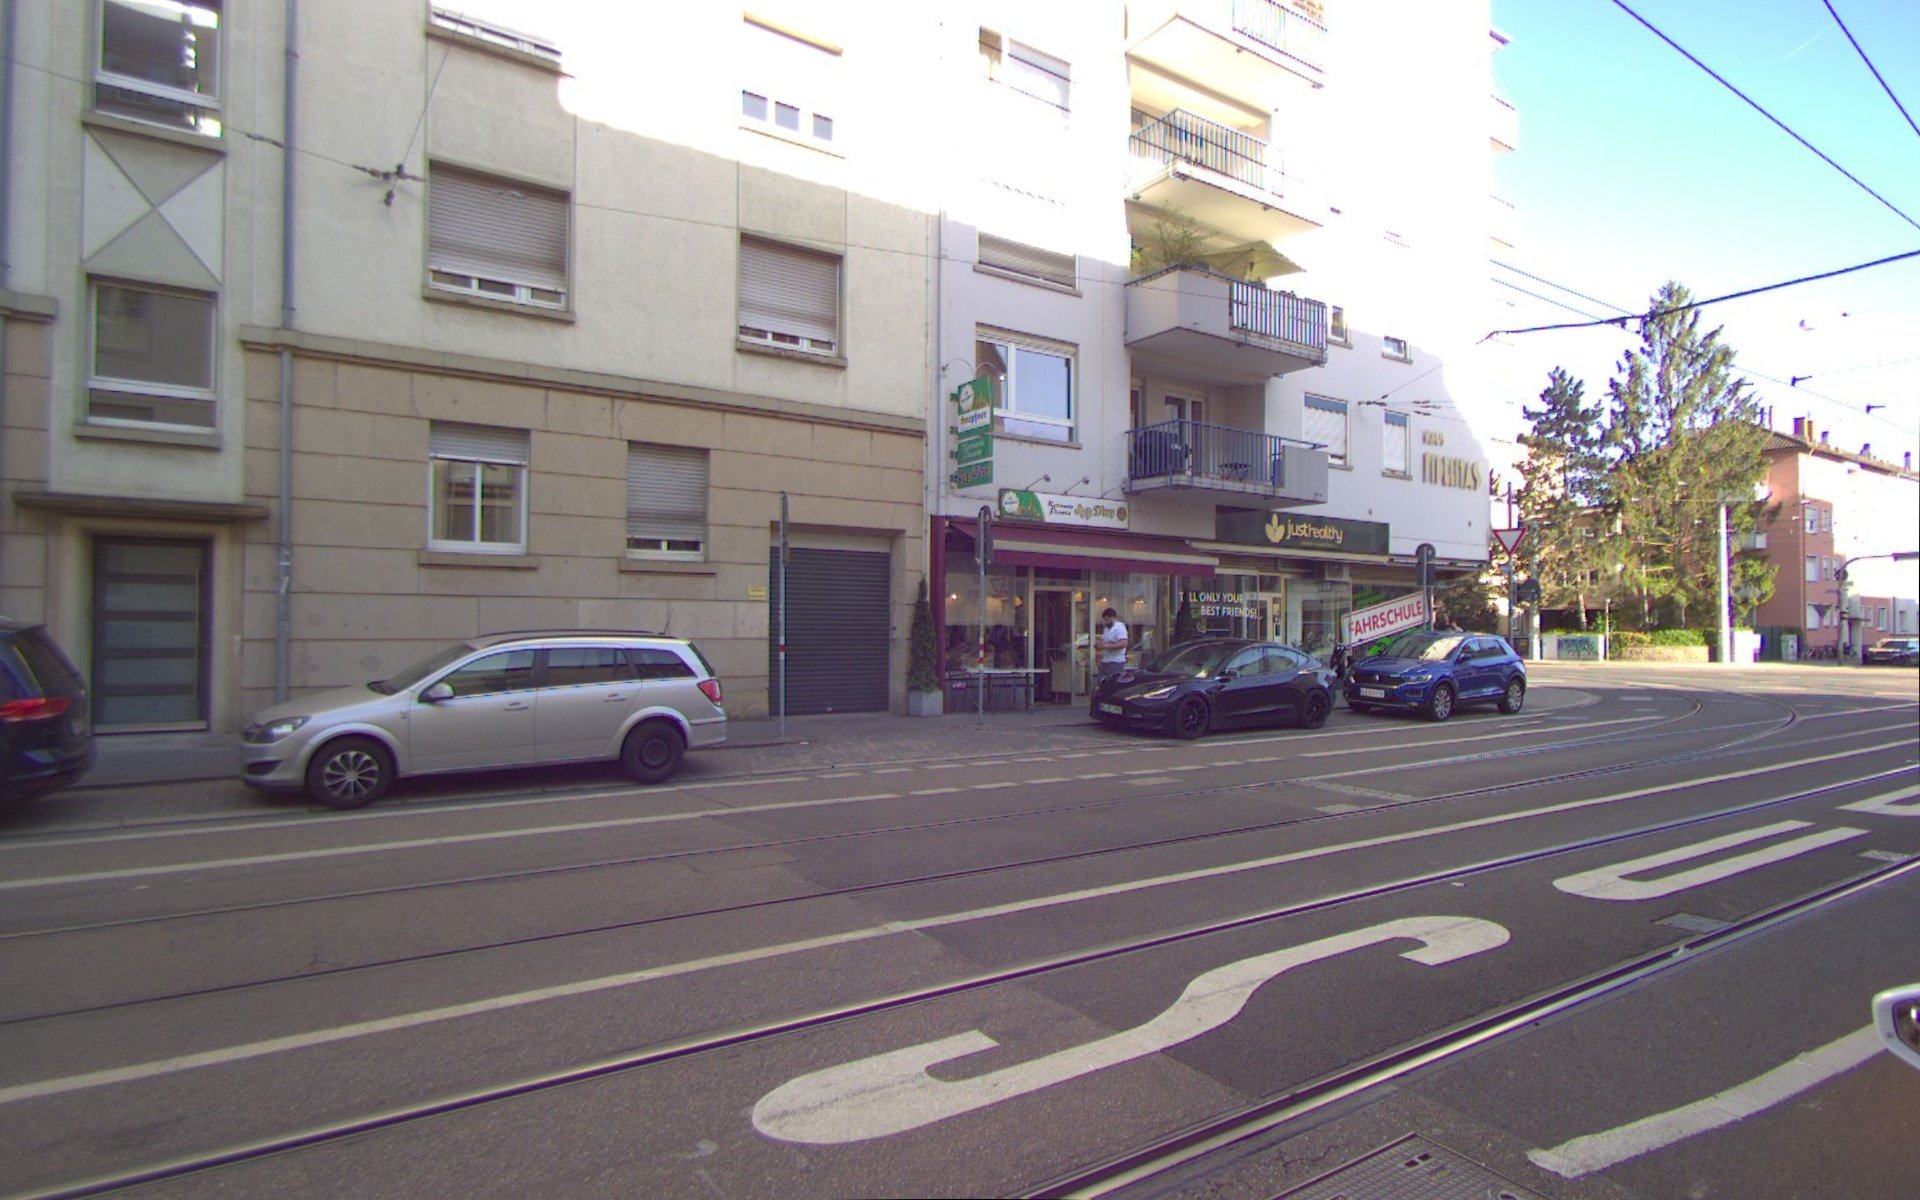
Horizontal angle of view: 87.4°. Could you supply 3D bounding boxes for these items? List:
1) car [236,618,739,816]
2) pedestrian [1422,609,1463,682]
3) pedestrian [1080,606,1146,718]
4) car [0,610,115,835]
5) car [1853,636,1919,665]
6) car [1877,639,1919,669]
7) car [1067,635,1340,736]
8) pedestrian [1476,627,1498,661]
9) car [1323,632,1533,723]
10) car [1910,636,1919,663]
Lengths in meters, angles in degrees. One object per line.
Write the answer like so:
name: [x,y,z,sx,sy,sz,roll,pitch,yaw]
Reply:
car: [-4.697,1.040,10.318,4.319,1.580,1.981,2,0,-34]
pedestrian: [13.753,1.278,28.640,0.688,2.040,0.764,2,0,-35]
pedestrian: [2.597,1.036,17.064,0.802,1.827,0.689,2,0,-30]
car: [-8.992,0.869,7.212,4.249,1.606,1.893,2,0,-35]
car: [49.614,2.699,53.636,3.949,1.440,1.784,2,0,-31]
car: [53.481,3.025,56.390,4.250,1.518,1.806,2,0,-30]
car: [3.977,1.279,16.143,4.382,1.405,1.810,1,-2,-34]
pedestrian: [29.694,2.469,56.603,0.802,1.815,0.891,2,0,-44]
car: [8.928,1.385,19.083,4.030,1.552,1.858,1,-2,-34]
car: [58.071,2.955,59.346,4.103,1.531,1.778,2,0,-31]
